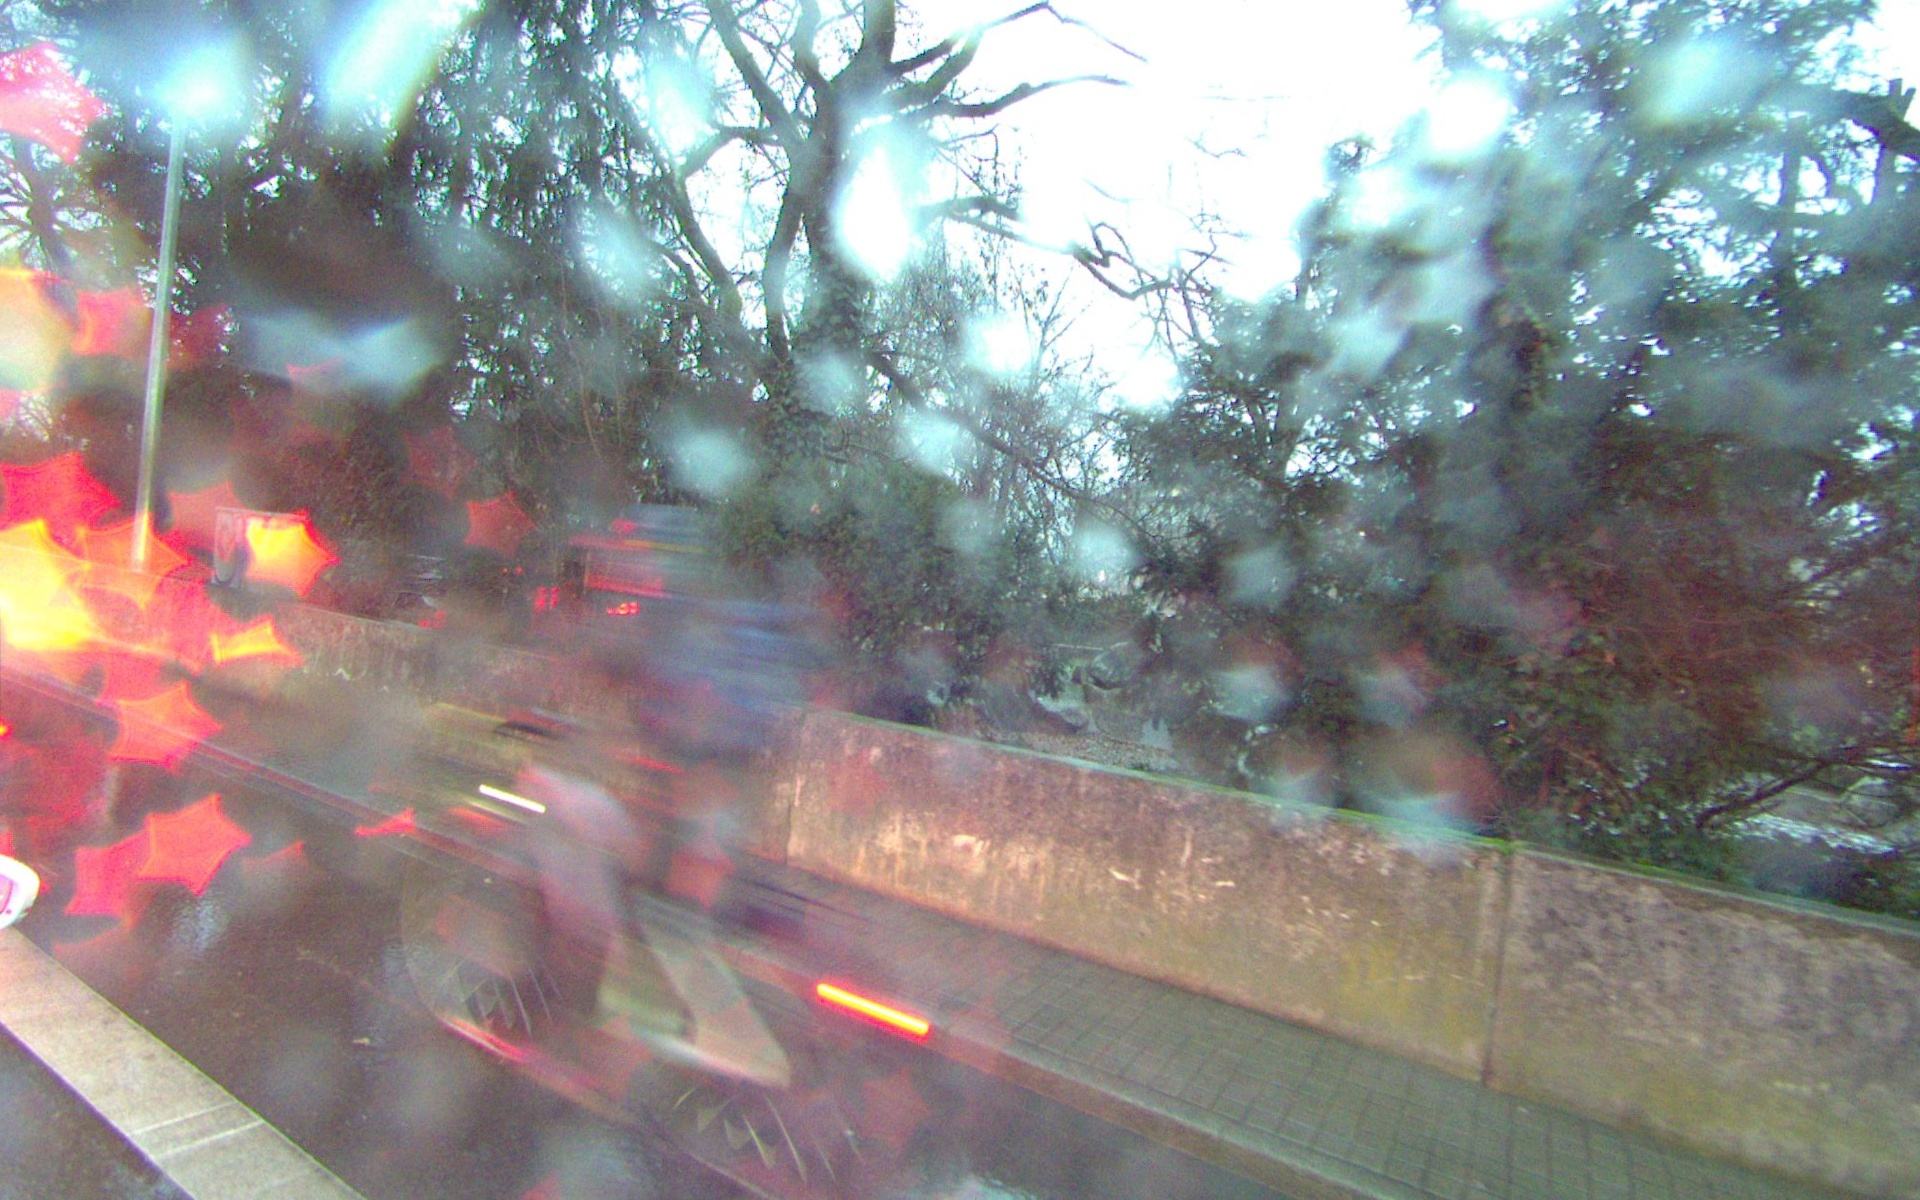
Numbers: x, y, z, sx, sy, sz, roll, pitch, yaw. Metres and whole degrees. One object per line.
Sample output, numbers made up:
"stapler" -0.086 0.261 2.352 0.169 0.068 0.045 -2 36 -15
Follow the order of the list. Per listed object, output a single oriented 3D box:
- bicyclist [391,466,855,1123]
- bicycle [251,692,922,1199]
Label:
"bicyclist" -0.895 0.412 2.678 0.876 1.406 0.645 7 1 34
"bicycle" -1.152 0.898 2.827 2.014 0.979 0.645 7 1 34
